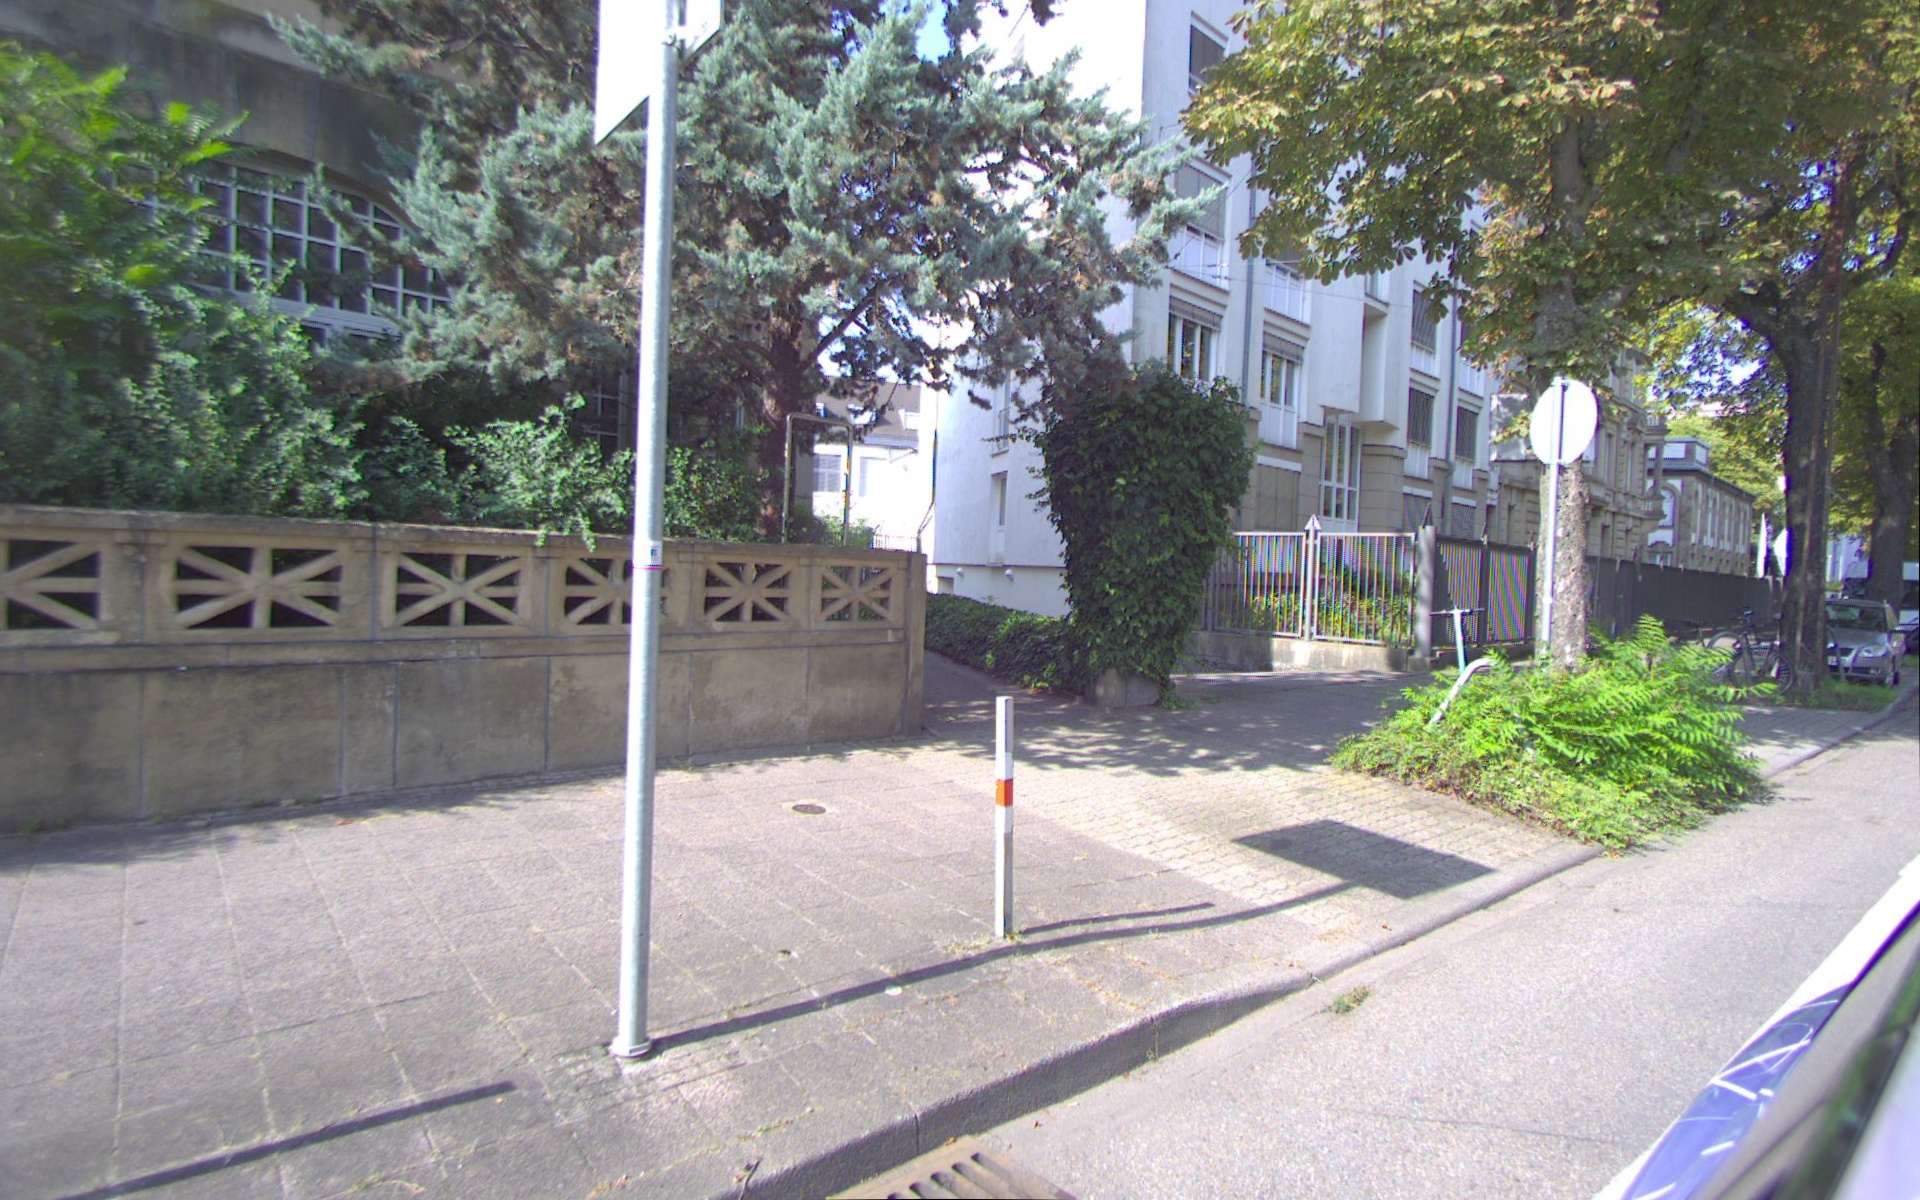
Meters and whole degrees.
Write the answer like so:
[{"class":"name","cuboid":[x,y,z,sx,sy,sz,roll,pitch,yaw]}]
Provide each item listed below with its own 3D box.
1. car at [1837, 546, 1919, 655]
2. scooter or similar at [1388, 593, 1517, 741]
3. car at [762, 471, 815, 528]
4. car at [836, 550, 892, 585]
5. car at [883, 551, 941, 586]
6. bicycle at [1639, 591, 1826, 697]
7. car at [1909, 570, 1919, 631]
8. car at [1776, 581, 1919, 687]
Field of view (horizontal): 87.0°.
[{"class":"car","cuboid":[24.412,0.011,26.073,6.125,2.529,2.049,0,3,-44]},{"class":"scooter or similar","cuboid":[4.440,0.570,9.118,1.015,1.211,0.560,0,5,-38]},{"class":"car","cuboid":[-9.174,-5.278,53.815,1.958,2.689,4.992,1,2,-19]},{"class":"car","cuboid":[-4.734,-1.618,49.316,1.797,1.585,4.010,1,2,-18]},{"class":"car","cuboid":[-2.409,-1.593,50.109,1.797,1.585,4.010,1,2,-18]},{"class":"bicycle","cuboid":[10.153,0.561,13.352,1.811,1.179,0.504,4,7,7]},{"class":"car","cuboid":[43.482,0.110,44.520,5.769,2.571,1.997,0,4,-43]},{"class":"car","cuboid":[16.055,0.531,18.102,4.285,1.541,1.610,0,6,-44]}]
